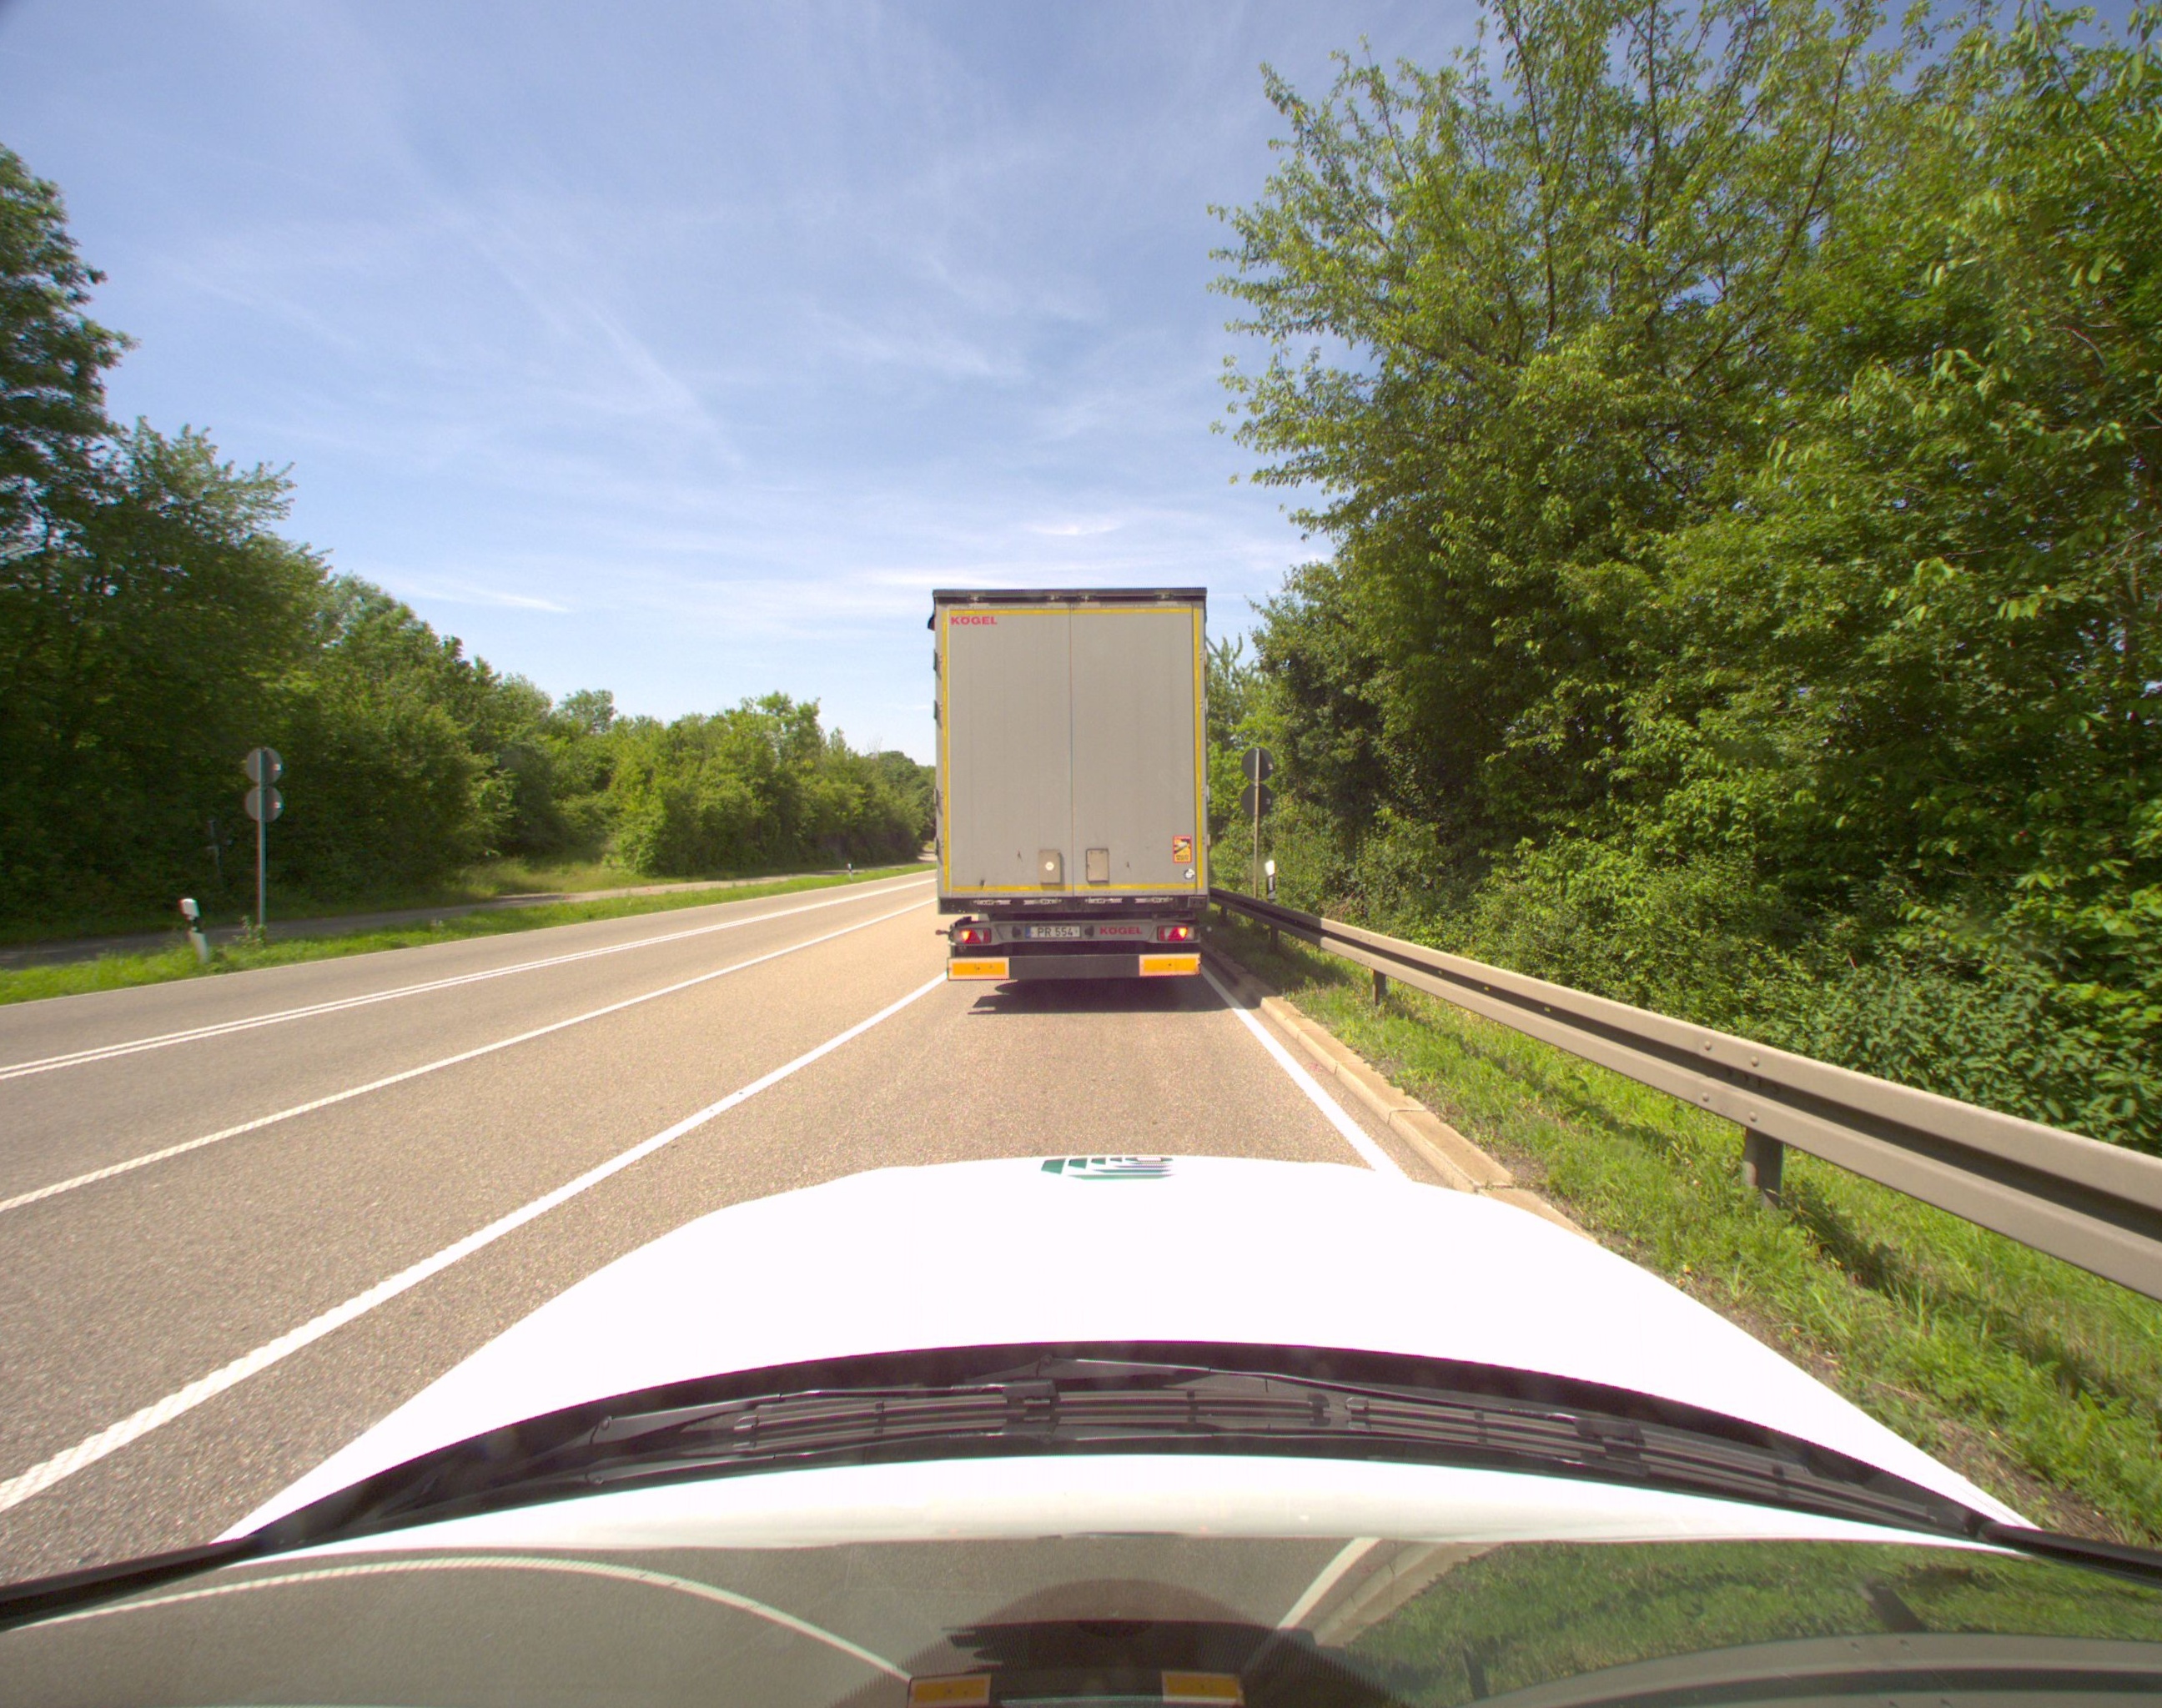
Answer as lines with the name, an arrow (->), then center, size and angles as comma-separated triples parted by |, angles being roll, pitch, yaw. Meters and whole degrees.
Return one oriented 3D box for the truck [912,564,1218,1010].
truck -> -0.025, -0.632, 13.398 | 2.747, 4.029, 11.926 | -1, 0, 1
